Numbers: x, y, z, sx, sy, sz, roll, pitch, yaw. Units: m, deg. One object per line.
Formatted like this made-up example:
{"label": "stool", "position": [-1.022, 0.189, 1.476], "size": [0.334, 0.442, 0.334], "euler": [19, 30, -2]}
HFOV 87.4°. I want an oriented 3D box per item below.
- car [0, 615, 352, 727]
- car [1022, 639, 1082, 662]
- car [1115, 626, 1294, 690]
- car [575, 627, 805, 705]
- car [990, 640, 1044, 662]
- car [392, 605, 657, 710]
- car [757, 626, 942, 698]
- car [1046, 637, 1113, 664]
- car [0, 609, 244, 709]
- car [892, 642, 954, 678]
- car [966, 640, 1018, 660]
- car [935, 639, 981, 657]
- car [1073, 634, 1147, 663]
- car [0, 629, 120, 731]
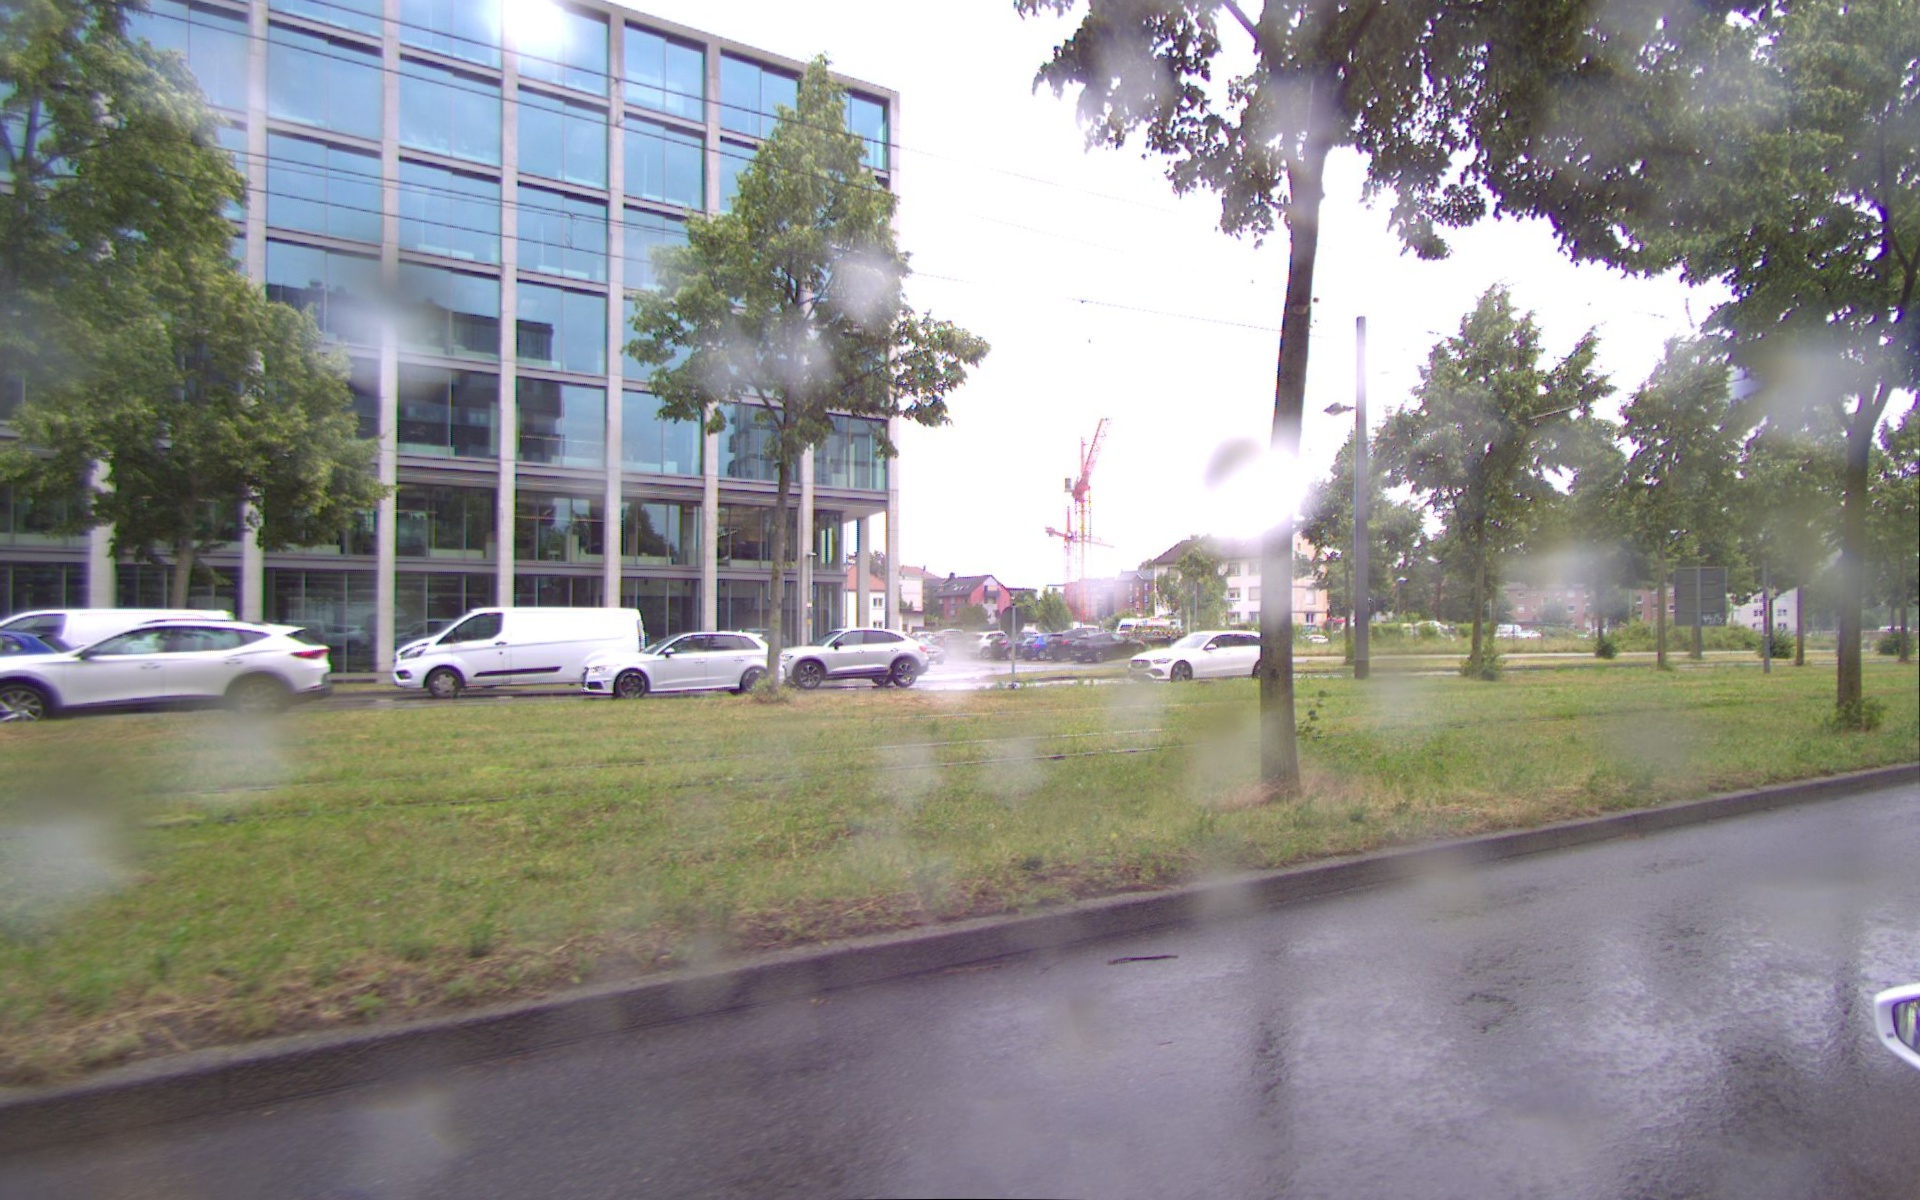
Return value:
{"label": "car", "position": [-11.662, 0.969, 14.846], "size": [4.523, 1.471, 1.941], "euler": [1, -1, -31]}
{"label": "car", "position": [5.174, 2.814, 56.442], "size": [3.177, 1.082, 1.182], "euler": [-2, 0, -27]}
{"label": "car", "position": [6.887, 1.578, 28.266], "size": [4.768, 1.480, 1.944], "euler": [-2, 0, -27]}
{"label": "car", "position": [-5.837, 1.358, 21.856], "size": [4.523, 1.533, 1.941], "euler": [1, -1, -31]}
{"label": "car", "position": [3.369, 2.996, 59.252], "size": [2.978, 1.087, 1.285], "euler": [-2, 0, -27]}
{"label": "car", "position": [-9.917, 1.216, 23.037], "size": [5.307, 2.033, 2.258], "euler": [-2, 0, -29]}
{"label": "car", "position": [-2.928, 1.586, 26.771], "size": [4.517, 1.772, 1.943], "euler": [1, -1, -28]}
{"label": "car", "position": [6.477, 2.706, 54.355], "size": [3.438, 1.256, 1.373], "euler": [-2, 0, -27]}
{"label": "car", "position": [-16.731, 1.097, 19.047], "size": [4.974, 1.674, 1.940], "euler": [-2, 0, -33]}
{"label": "car", "position": [-1.899, 2.994, 50.791], "size": [1.721, 1.630, 3.777], "euler": [-2, 0, -26]}
{"label": "car", "position": [1.978, 3.073, 61.860], "size": [2.978, 1.087, 1.285], "euler": [-2, 0, -27]}
{"label": "car", "position": [-0.102, 3.198, 66.590], "size": [2.825, 1.030, 1.152], "euler": [-2, 0, -27]}
{"label": "car", "position": [7.729, 2.469, 51.708], "size": [3.612, 1.256, 1.495], "euler": [-2, 0, -27]}
{"label": "car", "position": [-15.971, 1.300, 15.815], "size": [3.918, 1.514, 1.940], "euler": [-2, 0, -33]}
